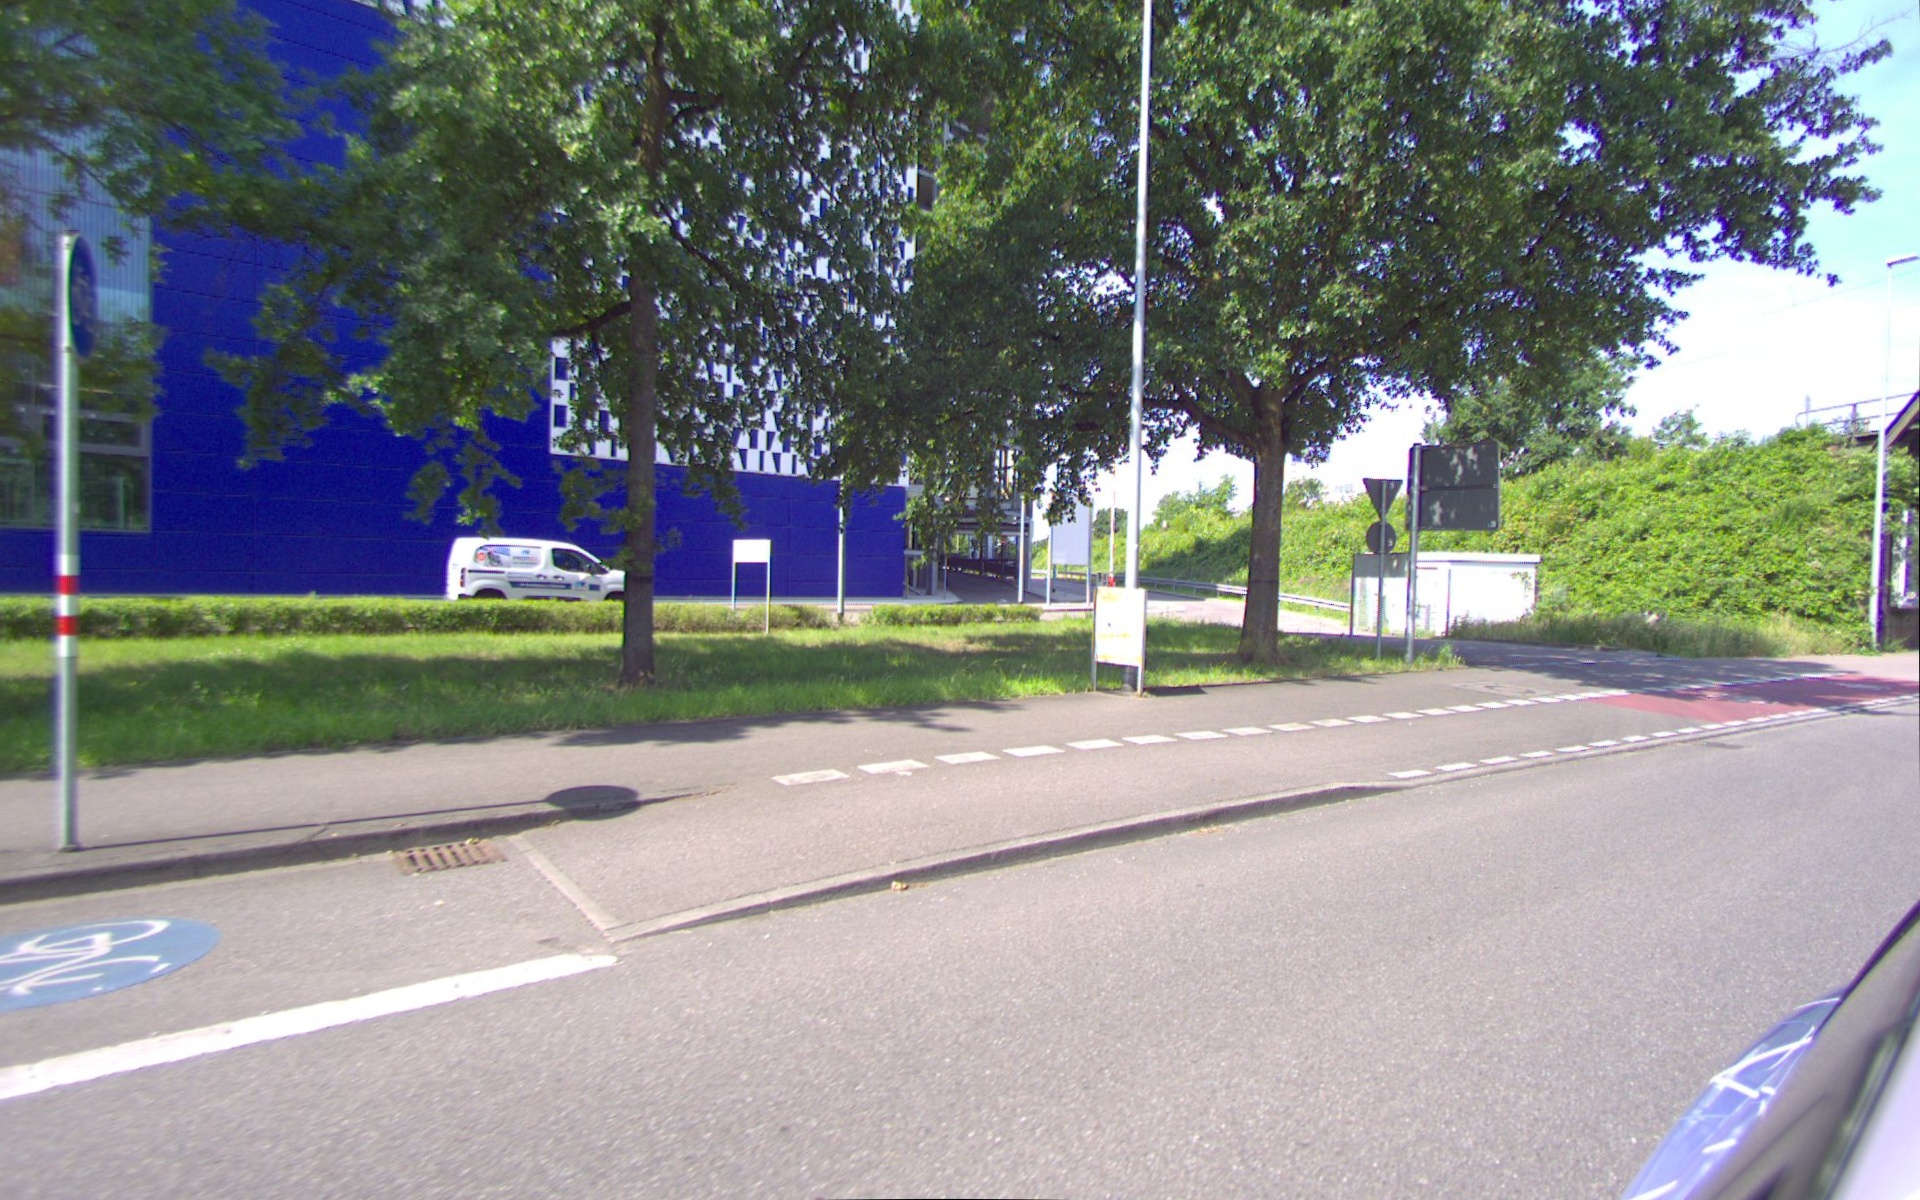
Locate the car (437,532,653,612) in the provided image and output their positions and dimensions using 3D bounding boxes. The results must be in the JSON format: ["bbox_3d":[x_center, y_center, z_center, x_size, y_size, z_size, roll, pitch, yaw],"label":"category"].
[{"bbox_3d":[-9.381,-0.595,22.997,4.222,1.660,1.856,0,0,-35],"label":"car"}]
